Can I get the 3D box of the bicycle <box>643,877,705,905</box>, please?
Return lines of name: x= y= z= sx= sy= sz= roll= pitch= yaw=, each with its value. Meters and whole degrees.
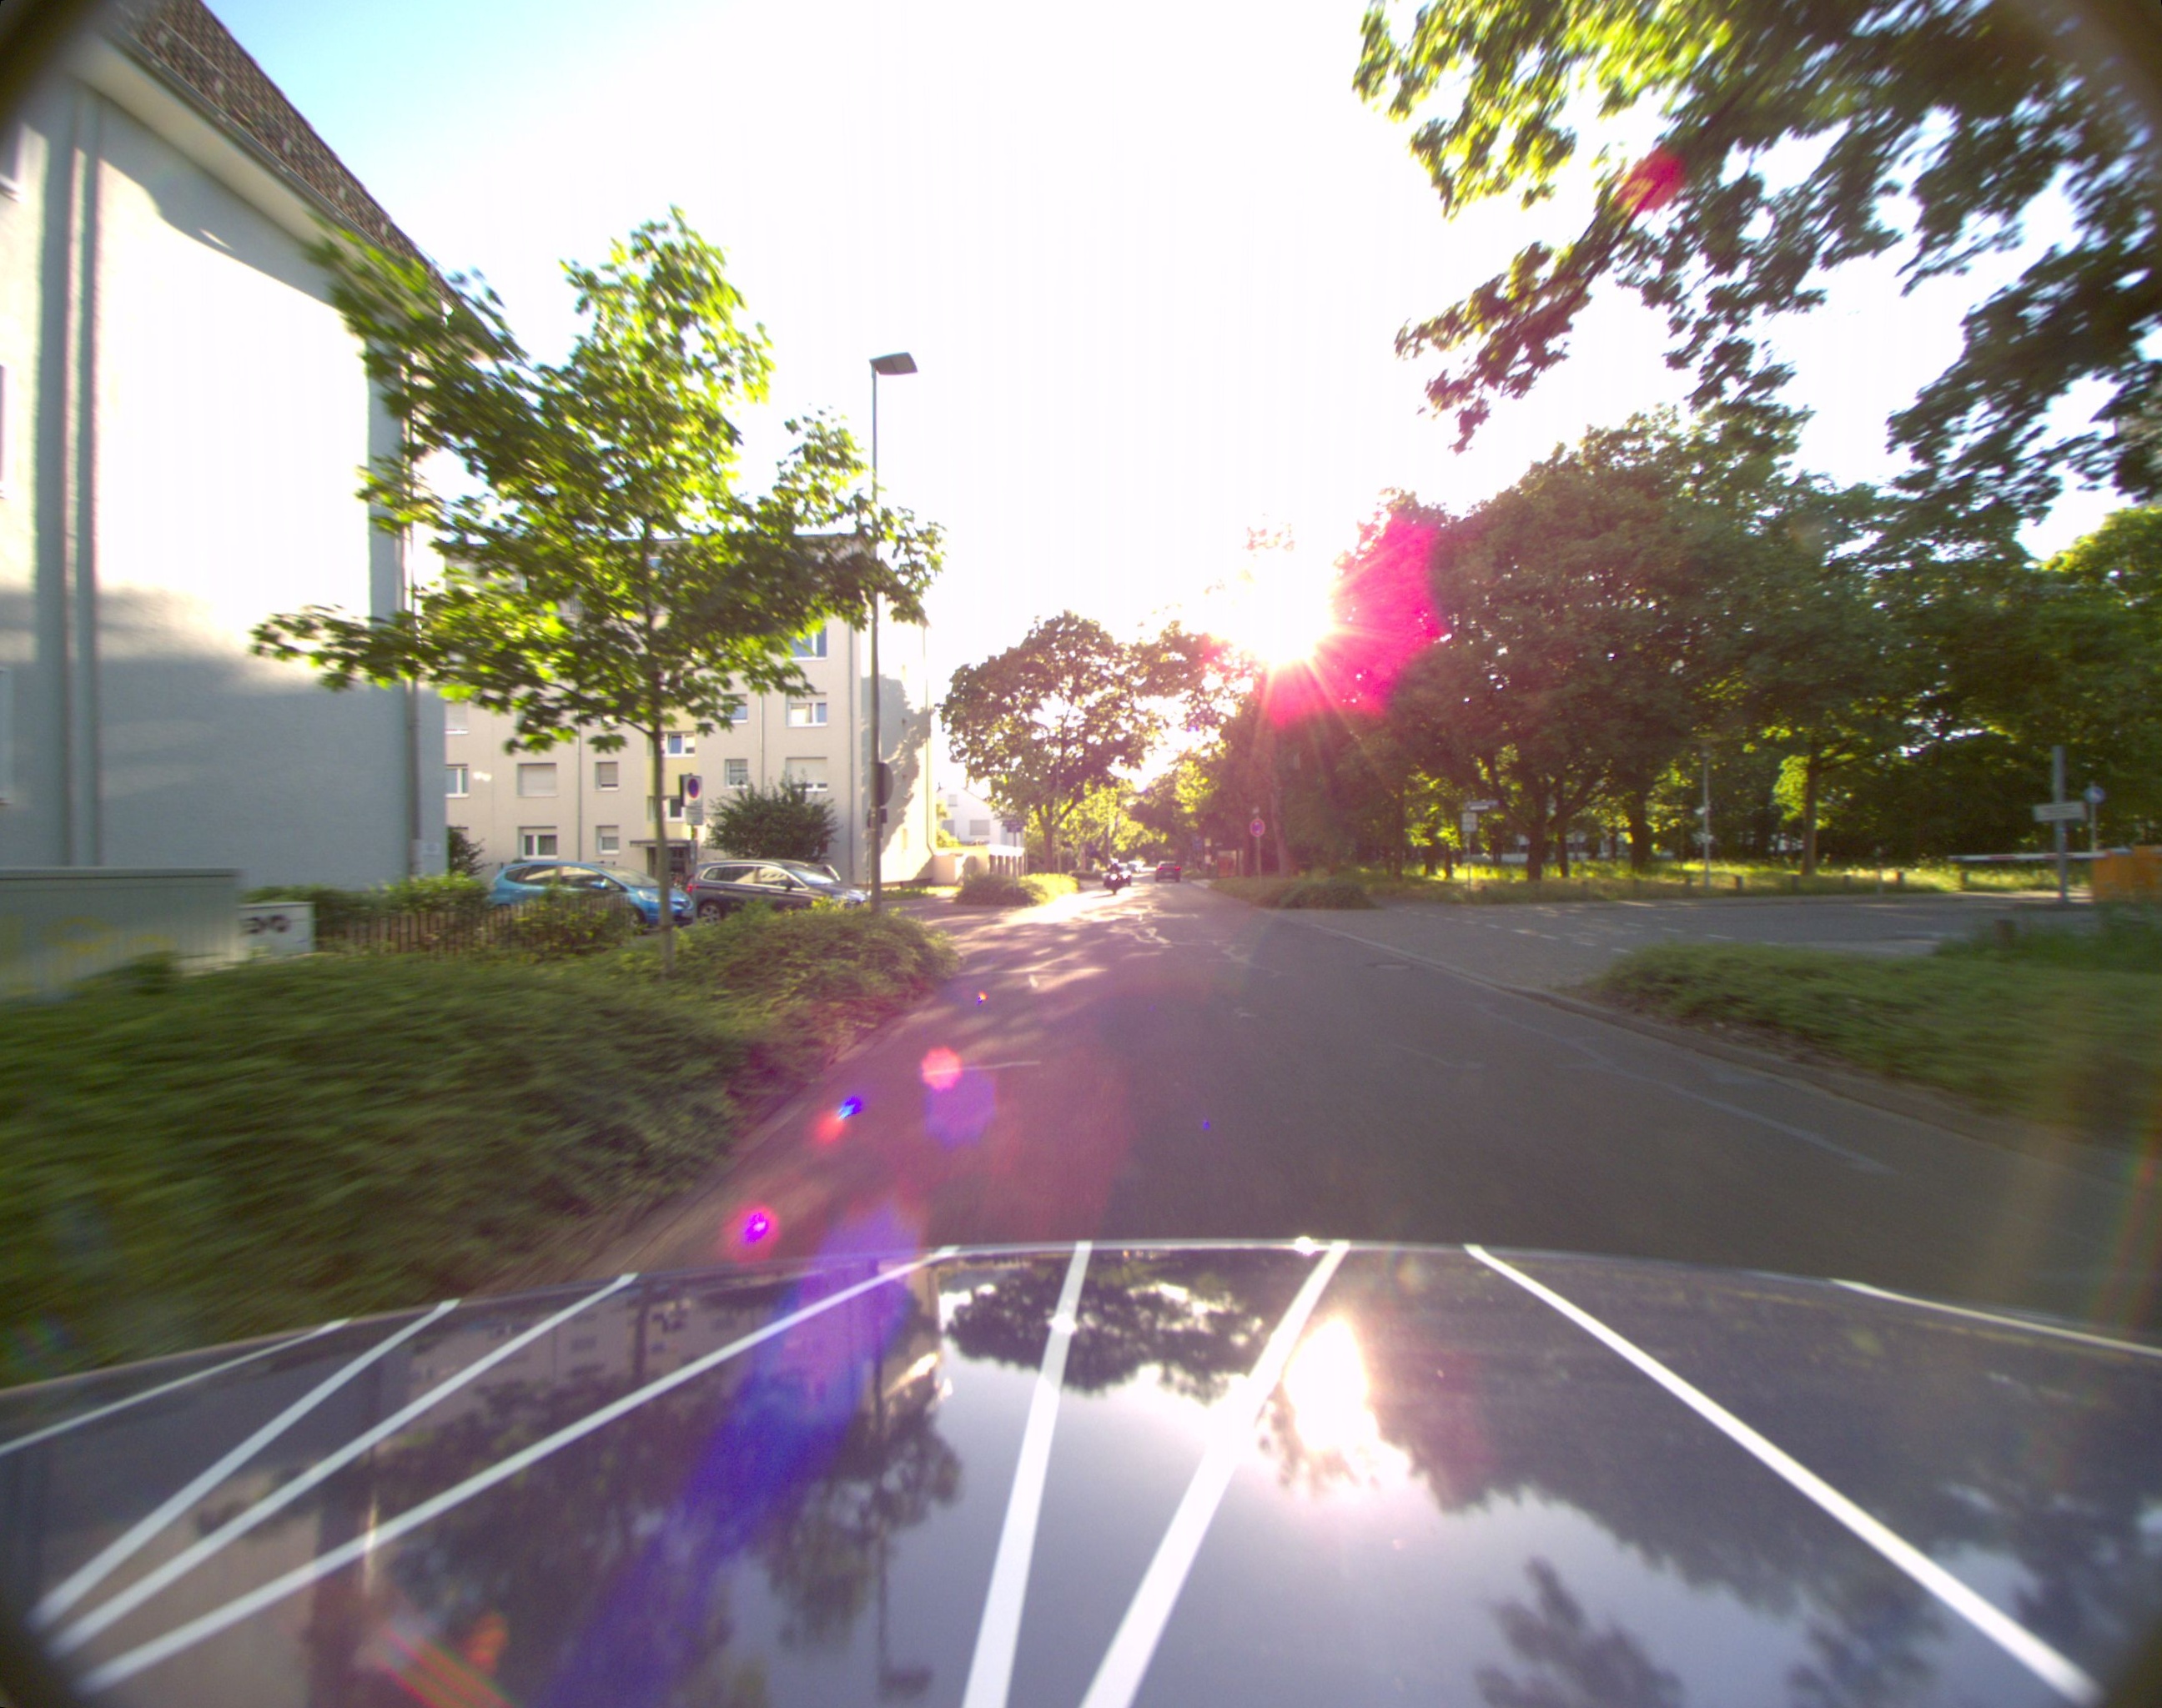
bicycle: x=-15.002 y=1.357 z=28.045 sx=1.975 sy=0.954 sz=0.545 roll=-1 pitch=0 yaw=-1

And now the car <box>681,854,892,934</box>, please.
car: x=-6.889 y=0.917 z=17.985 sx=4.273 sy=1.663 sz=1.770 roll=-3 pitch=0 yaw=9

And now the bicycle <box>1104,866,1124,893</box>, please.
bicycle: x=1.564 y=1.175 z=35.604 sx=0.829 sy=1.182 sz=2.303 roll=-2 pitch=0 yaw=4

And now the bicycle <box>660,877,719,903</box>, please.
bicycle: x=-15.065 y=1.373 z=29.242 sx=1.975 sy=0.954 sz=0.545 roll=-1 pitch=0 yaw=-1

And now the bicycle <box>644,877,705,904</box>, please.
bicycle: x=-15.323 y=1.372 z=28.658 sx=1.975 sy=0.954 sz=0.545 roll=-1 pitch=0 yaw=-1

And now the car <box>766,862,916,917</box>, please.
car: x=-7.384 y=1.090 z=23.664 sx=4.050 sy=1.505 sz=1.727 roll=-2 pitch=1 yaw=1

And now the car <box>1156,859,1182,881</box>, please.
car: x=6.735 y=1.191 z=58.537 sx=1.848 sy=1.569 sz=4.338 roll=1 pitch=0 yaw=5

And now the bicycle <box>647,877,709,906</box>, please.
bicycle: x=-14.548 y=1.351 z=27.448 sx=1.906 sy=0.954 sz=0.545 roll=-1 pitch=0 yaw=-1

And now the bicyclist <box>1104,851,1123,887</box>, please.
bicyclist: x=1.533 y=0.712 z=35.550 sx=0.819 sy=1.635 sz=0.745 roll=-2 pitch=0 yaw=4

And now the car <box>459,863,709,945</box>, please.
car: x=-10.140 y=0.999 z=15.730 sx=3.997 sy=1.572 sz=1.810 roll=-1 pitch=-1 yaw=0

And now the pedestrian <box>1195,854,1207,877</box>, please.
pedestrian: x=9.928 y=0.943 z=62.990 sx=0.905 sy=1.810 sz=0.721 roll=-1 pitch=0 yaw=2

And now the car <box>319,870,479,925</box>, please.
car: x=-21.604 y=1.364 z=24.166 sx=3.499 sy=1.485 sz=1.750 roll=-3 pitch=0 yaw=2
